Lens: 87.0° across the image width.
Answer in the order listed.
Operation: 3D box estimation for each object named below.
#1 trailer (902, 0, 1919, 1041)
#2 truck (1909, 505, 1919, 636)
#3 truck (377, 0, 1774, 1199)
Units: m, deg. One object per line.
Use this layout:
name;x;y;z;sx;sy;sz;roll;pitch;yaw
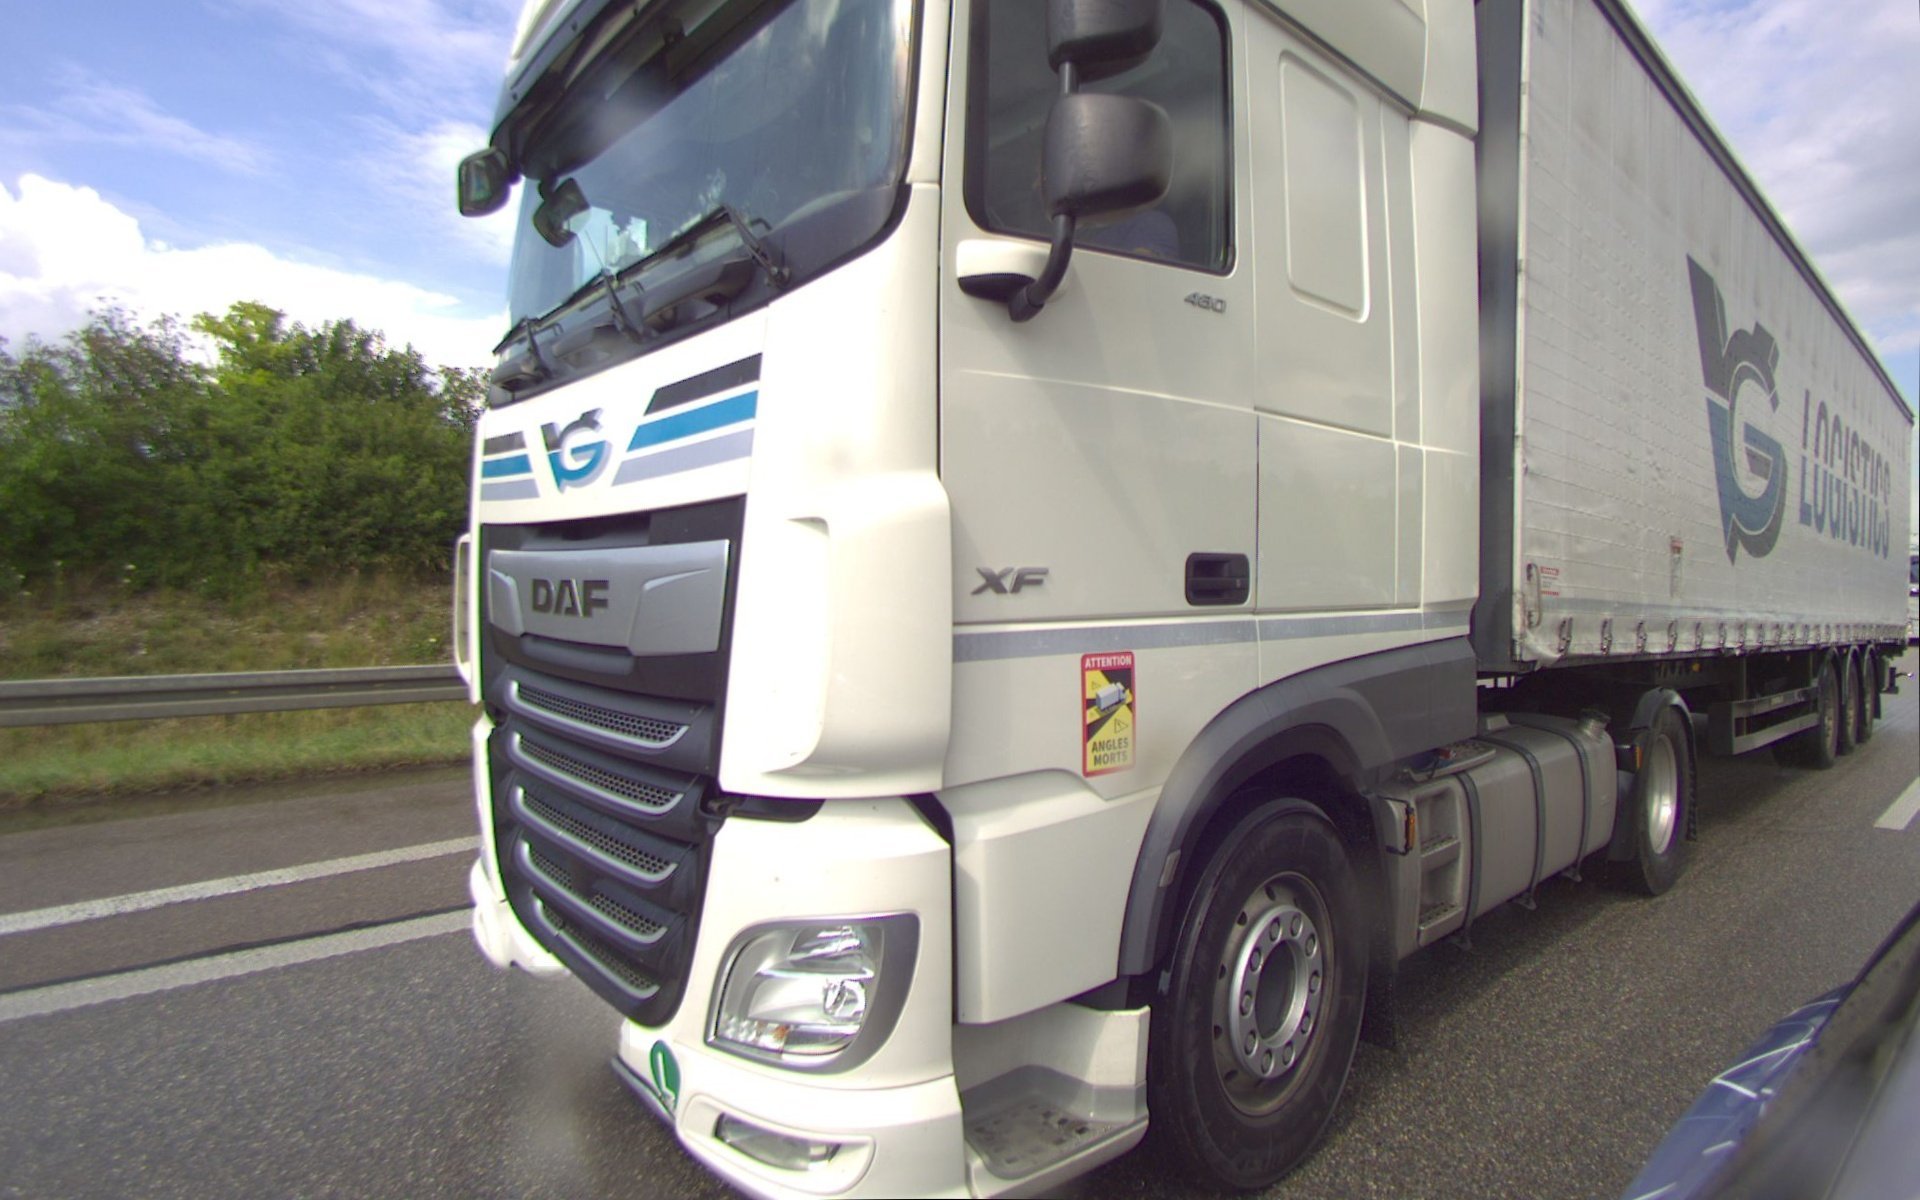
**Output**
trailer;5.892;-0.616;9.091;13.886;3.948;3.288;0;0;-42
truck;34.857;-1.008;35.080;6.773;4.328;2.644;-1;1;-45
truck;1.157;-0.599;4.808;6.286;3.940;3.288;0;0;-42
